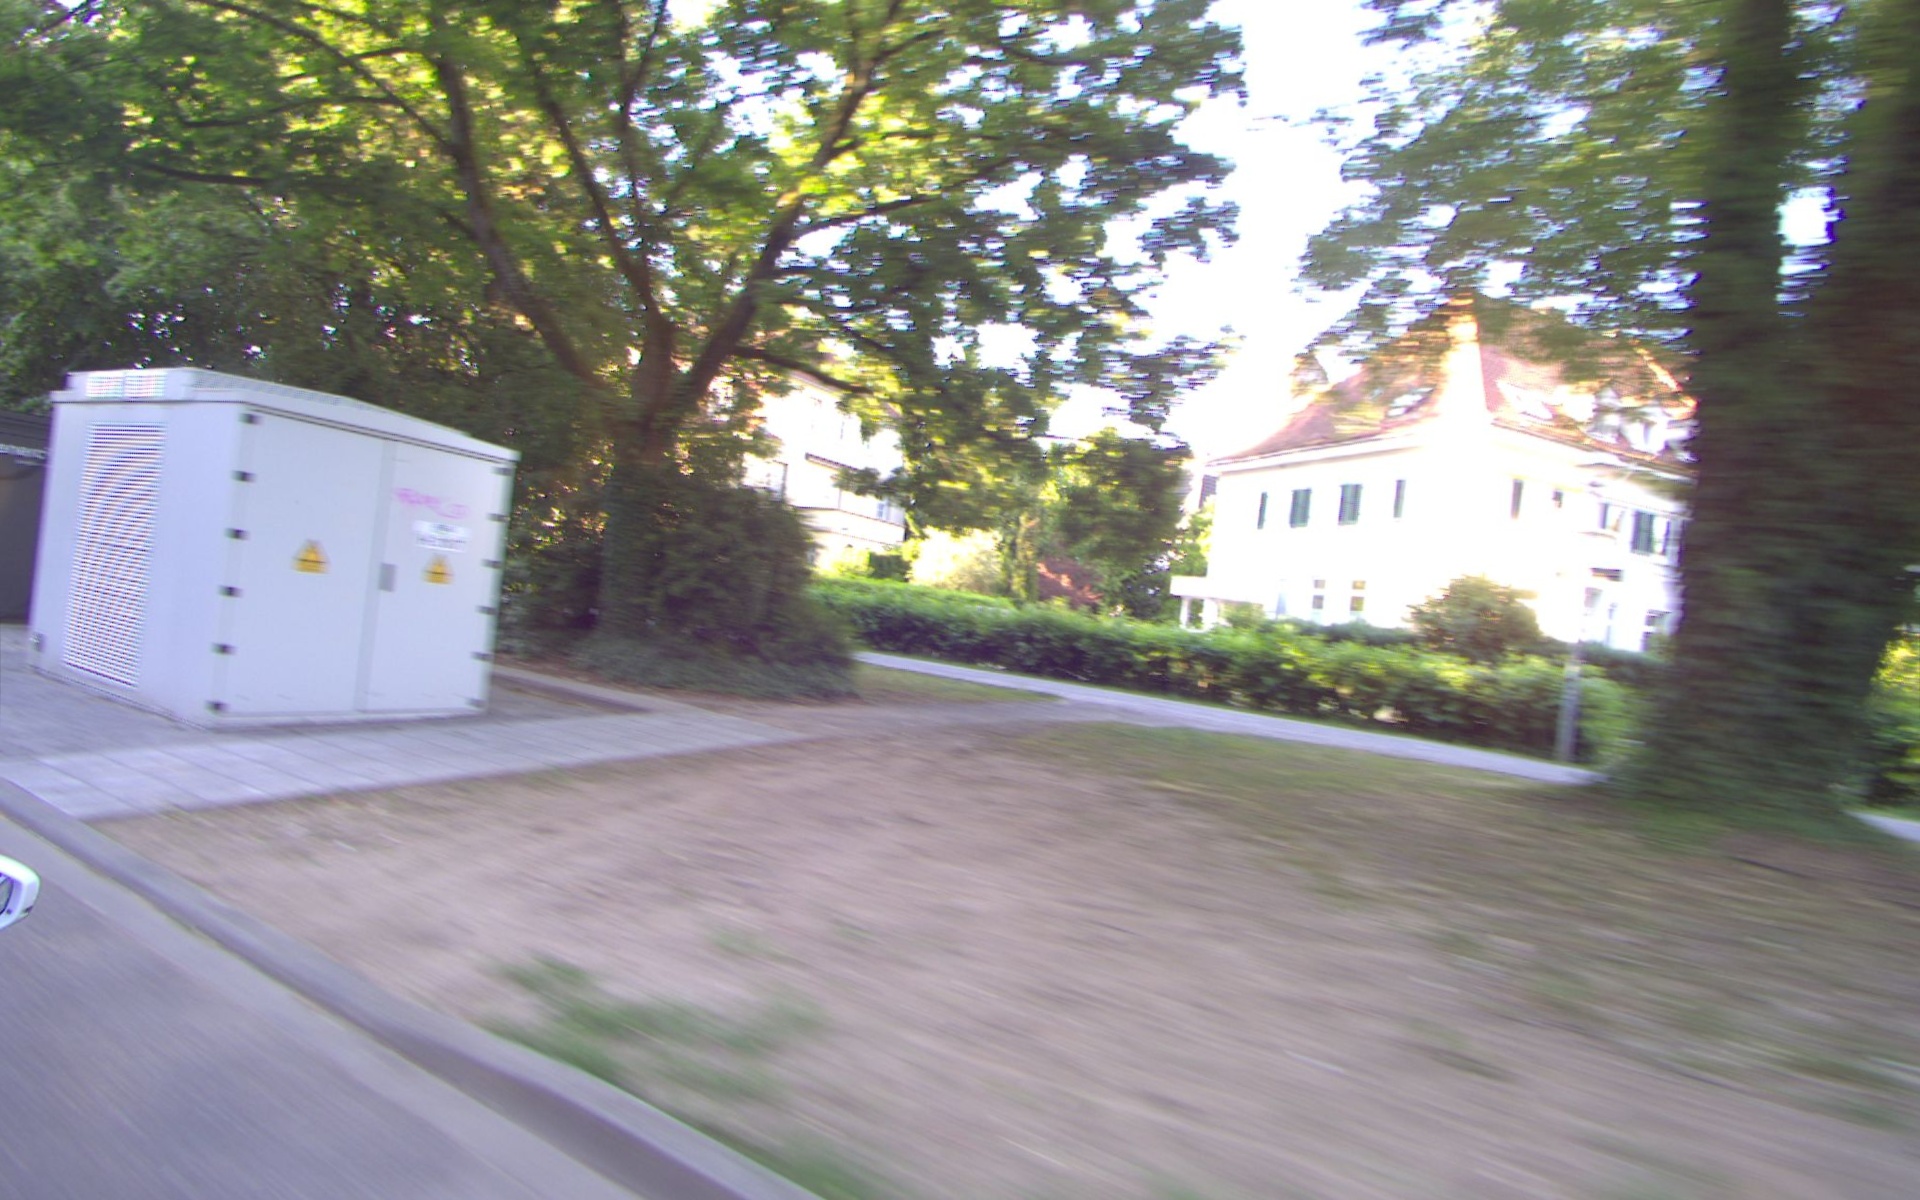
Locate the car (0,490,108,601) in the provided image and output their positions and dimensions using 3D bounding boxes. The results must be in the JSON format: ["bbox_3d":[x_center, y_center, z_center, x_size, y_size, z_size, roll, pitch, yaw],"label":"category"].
[{"bbox_3d":[-14.679,-0.927,13.594,1.751,1.487,4.448,7,0,28],"label":"car"}]
